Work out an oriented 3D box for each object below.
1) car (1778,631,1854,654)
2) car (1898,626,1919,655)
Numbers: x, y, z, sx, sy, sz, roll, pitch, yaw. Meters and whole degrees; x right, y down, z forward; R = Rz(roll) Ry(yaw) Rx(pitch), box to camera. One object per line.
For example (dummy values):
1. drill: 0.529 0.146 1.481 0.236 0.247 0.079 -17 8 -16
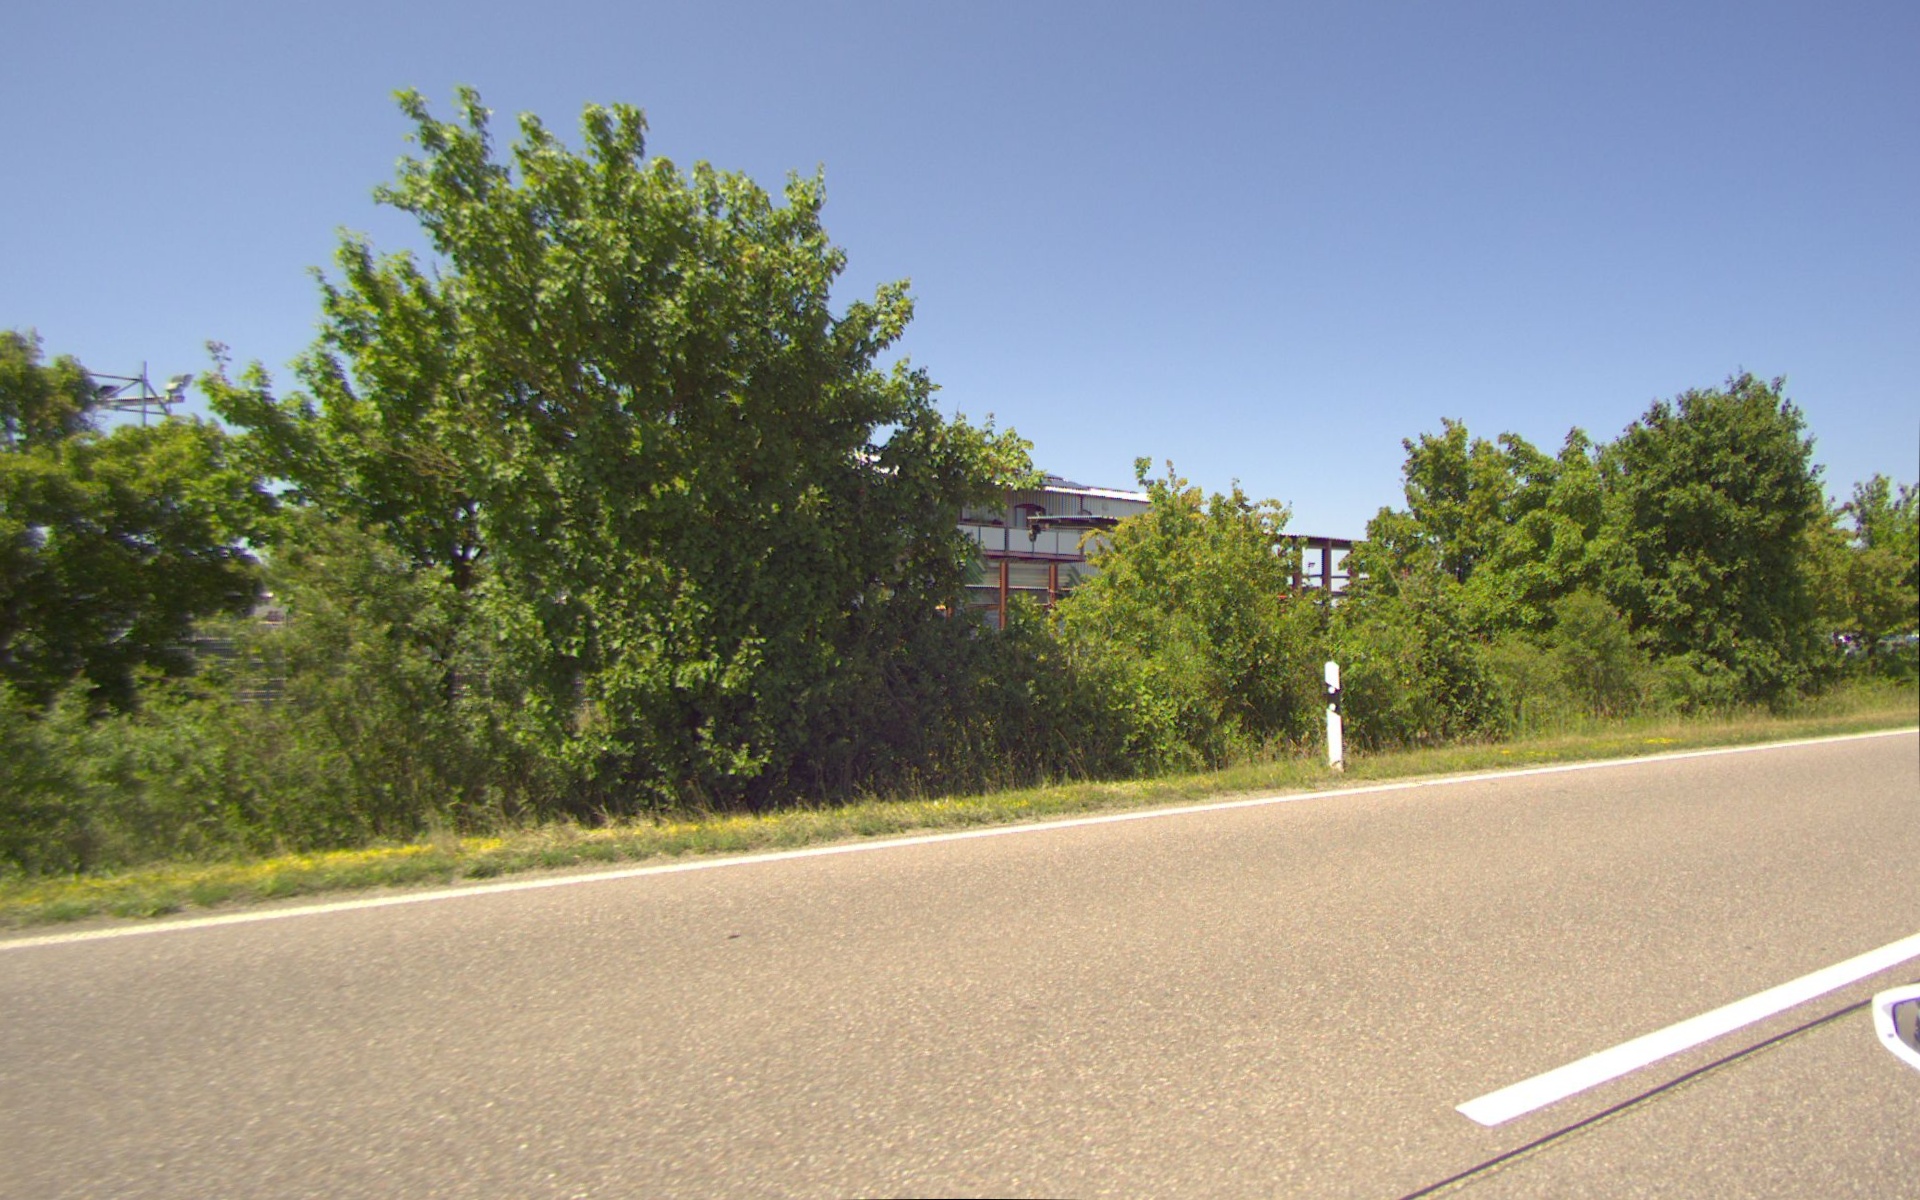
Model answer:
1. car: 58.646 2.870 68.898 1.623 1.427 3.668 1 -1 -31
2. car: 68.035 2.849 69.272 4.583 1.980 1.823 1 0 31
